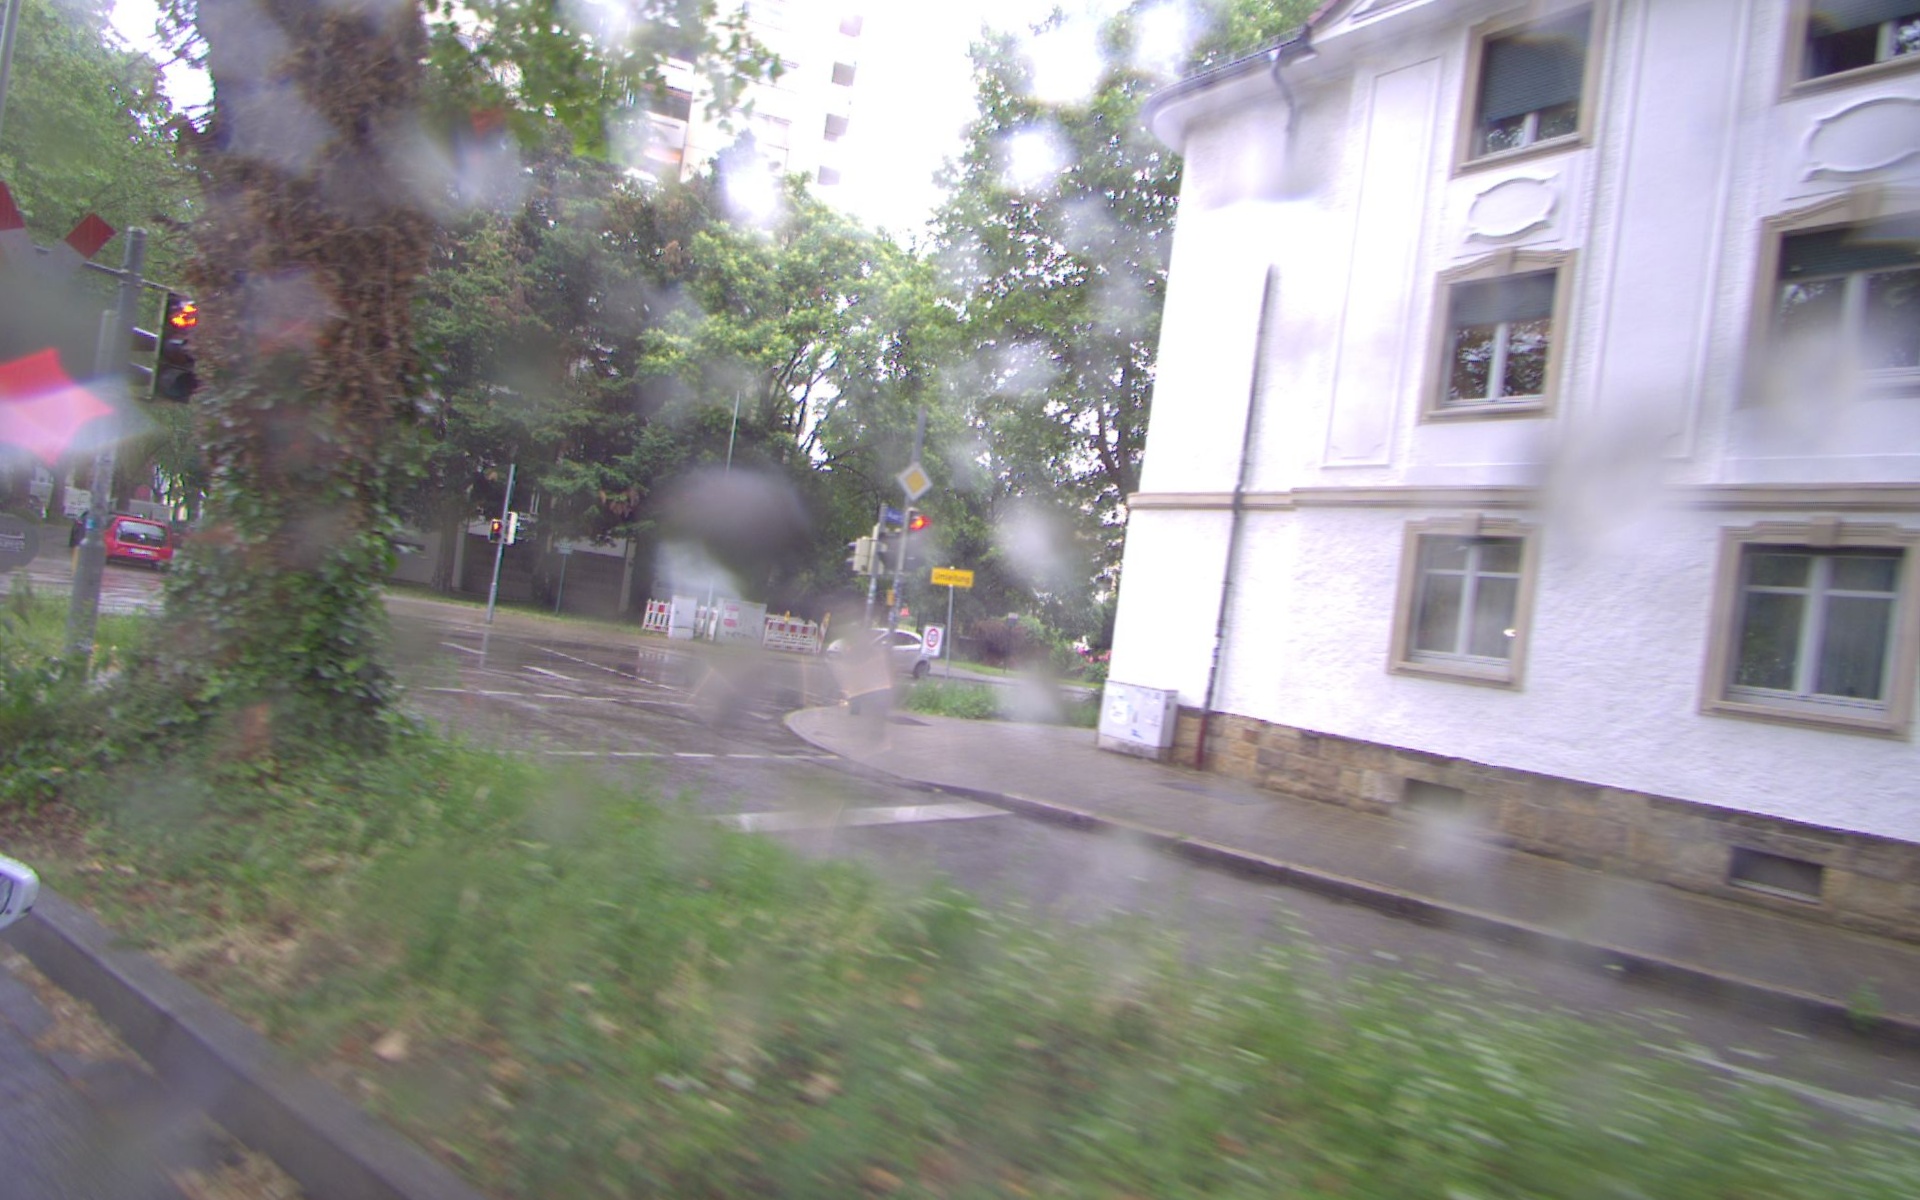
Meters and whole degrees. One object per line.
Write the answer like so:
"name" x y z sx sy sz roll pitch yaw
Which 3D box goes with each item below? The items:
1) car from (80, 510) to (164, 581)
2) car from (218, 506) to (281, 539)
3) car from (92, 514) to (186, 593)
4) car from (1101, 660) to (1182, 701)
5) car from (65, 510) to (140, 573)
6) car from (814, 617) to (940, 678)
"car" -29.059 -1.916 34.849 1.986 2.038 3.952 7 0 -42
"car" -58.233 -6.338 82.482 3.969 2.038 1.689 8 0 -39
"car" -25.681 -1.487 31.416 1.986 2.038 3.952 7 0 -42
"car" 8.356 3.707 46.176 3.630 1.504 1.704 8 0 -43
"car" -33.568 -2.297 39.364 1.986 2.038 3.952 7 0 -42
"car" -2.583 1.532 31.891 1.702 1.504 3.633 8 0 45
